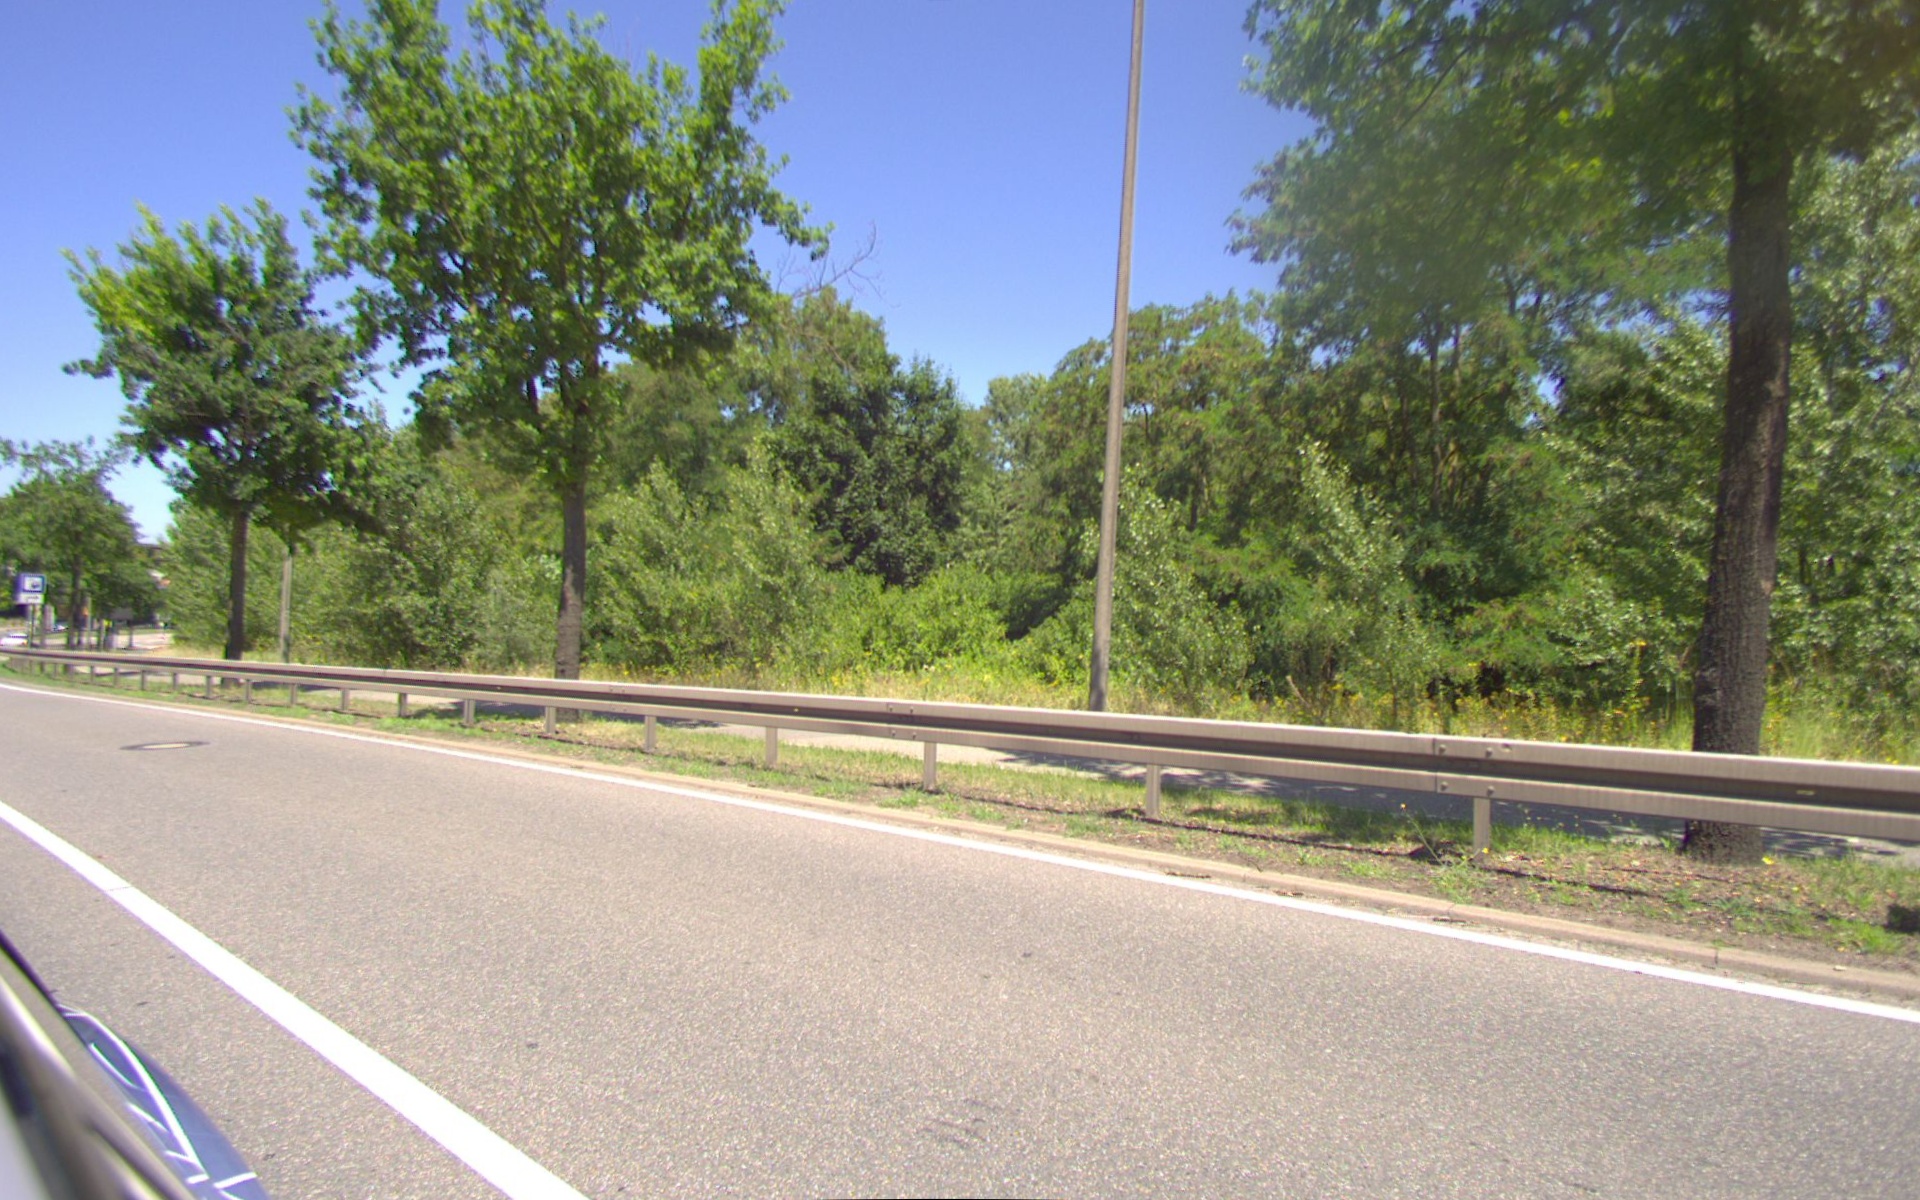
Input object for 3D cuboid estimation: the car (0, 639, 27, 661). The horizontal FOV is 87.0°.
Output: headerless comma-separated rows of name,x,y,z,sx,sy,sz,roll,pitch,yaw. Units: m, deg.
car,-71.797,3.777,76.525,1.754,1.454,4.005,-1,0,-42
